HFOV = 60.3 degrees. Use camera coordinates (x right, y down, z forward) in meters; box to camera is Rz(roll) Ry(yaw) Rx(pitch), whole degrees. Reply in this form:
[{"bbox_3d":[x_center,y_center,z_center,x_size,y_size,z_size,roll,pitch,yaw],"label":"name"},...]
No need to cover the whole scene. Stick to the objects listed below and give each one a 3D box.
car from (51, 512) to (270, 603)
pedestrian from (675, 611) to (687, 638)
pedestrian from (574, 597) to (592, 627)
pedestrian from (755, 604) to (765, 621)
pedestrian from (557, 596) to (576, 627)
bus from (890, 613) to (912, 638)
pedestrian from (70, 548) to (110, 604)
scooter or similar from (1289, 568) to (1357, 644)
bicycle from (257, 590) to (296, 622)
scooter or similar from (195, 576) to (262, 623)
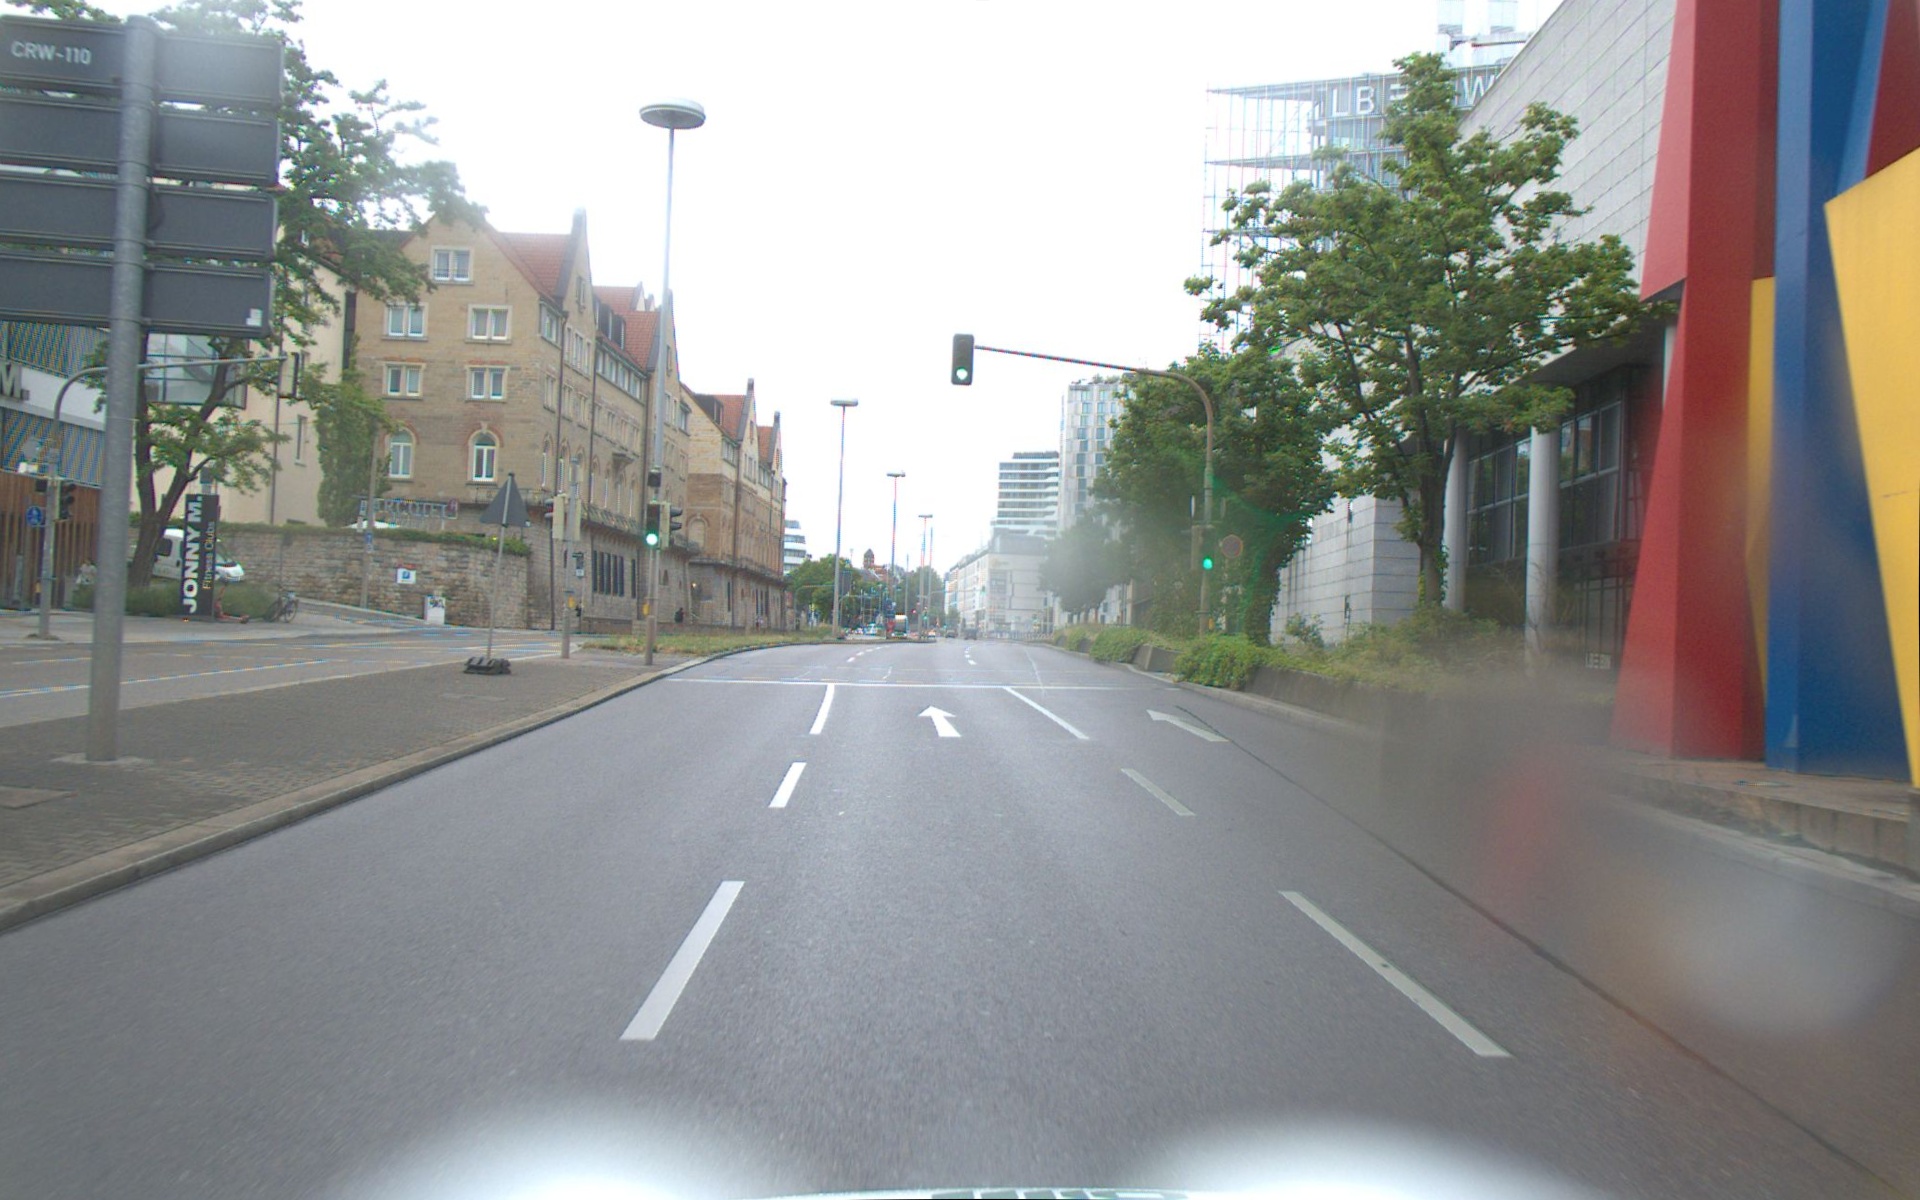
[{"bbox_3d":[-29.655,-1.610,61.488,6.765,2.313,2.516,9,3,2],"label":"car"},{"bbox_3d":[-18.391,1.591,108.992,0.627,1.776,0.621,1,0,-1],"label":"pedestrian"},{"bbox_3d":[-18.958,0.613,83.170,0.738,1.504,0.714,1,0,1],"label":"pedestrian"},{"bbox_3d":[-17.804,1.137,147.397,0.738,1.504,0.714,1,0,1],"label":"pedestrian"},{"bbox_3d":[-19.777,0.572,83.200,0.738,1.504,0.714,1,0,1],"label":"pedestrian"},{"bbox_3d":[-8.757,3.817,245.503,2.642,3.622,10.093,1,-2,1],"label":"bus"},{"bbox_3d":[-26.667,-0.731,50.718,0.752,1.670,0.842,1,0,1],"label":"pedestrian"},{"bbox_3d":[7.697,0.129,35.116,1.295,1.557,0.503,2,0,3],"label":"scooter or similar"},{"bbox_3d":[-22.087,0.208,53.491,0.447,1.008,1.758,2,-1,2],"label":"bicycle"},{"bbox_3d":[-21.841,-0.008,49.383,1.730,1.268,0.367,5,-2,-28],"label":"scooter or similar"}]
